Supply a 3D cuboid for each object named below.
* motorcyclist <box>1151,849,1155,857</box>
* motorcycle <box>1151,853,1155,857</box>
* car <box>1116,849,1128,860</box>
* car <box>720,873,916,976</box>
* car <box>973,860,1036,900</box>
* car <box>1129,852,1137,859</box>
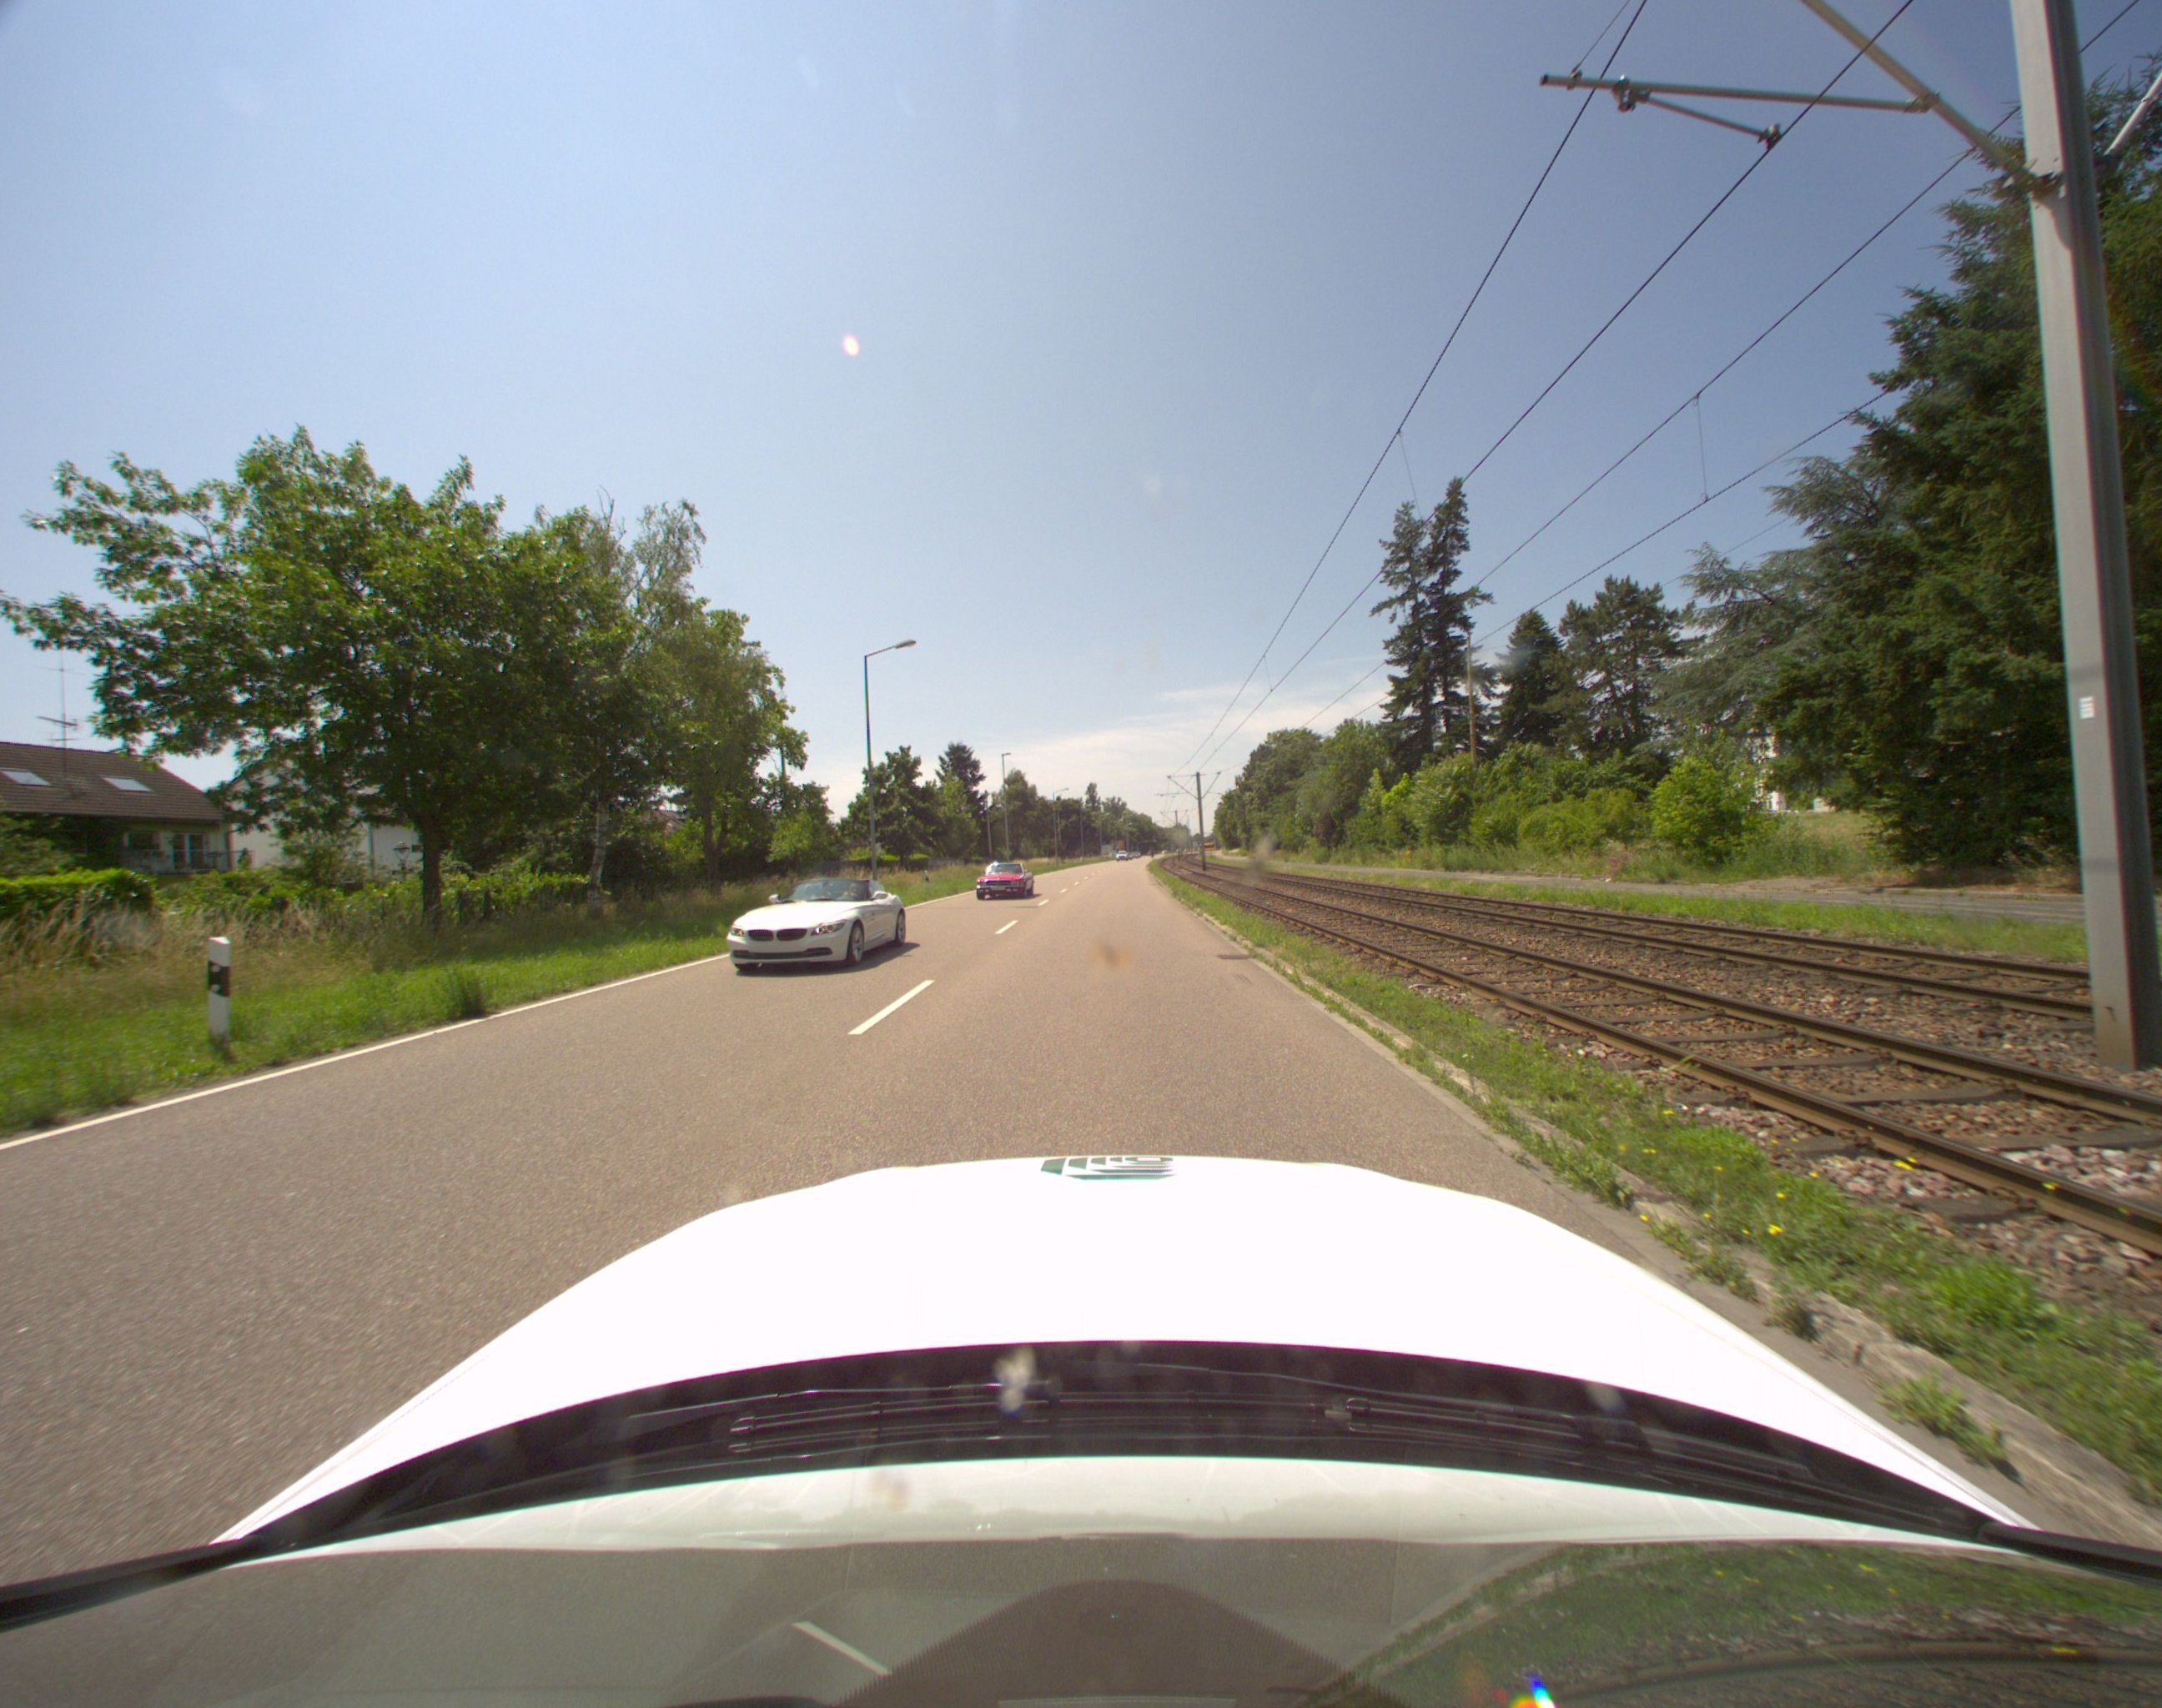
[{"bbox_3d":[17.069,-0.324,193.613,0.887,1.905,1.017,-2,0,6],"label":"motorcyclist"},{"bbox_3d":[17.117,0.237,193.541,0.965,1.117,2.737,-2,0,6],"label":"motorcycle"},{"bbox_3d":[7.354,0.098,147.049,1.926,1.796,4.718,-2,0,5],"label":"car"},{"bbox_3d":[-3.962,0.999,12.978,1.676,1.249,3.911,-2,0,2],"label":"car"},{"bbox_3d":[-2.802,0.930,30.576,1.742,1.301,4.255,-2,0,2],"label":"car"},{"bbox_3d":[12.017,0.303,188.988,1.809,1.493,4.369,-2,0,5],"label":"car"}]
